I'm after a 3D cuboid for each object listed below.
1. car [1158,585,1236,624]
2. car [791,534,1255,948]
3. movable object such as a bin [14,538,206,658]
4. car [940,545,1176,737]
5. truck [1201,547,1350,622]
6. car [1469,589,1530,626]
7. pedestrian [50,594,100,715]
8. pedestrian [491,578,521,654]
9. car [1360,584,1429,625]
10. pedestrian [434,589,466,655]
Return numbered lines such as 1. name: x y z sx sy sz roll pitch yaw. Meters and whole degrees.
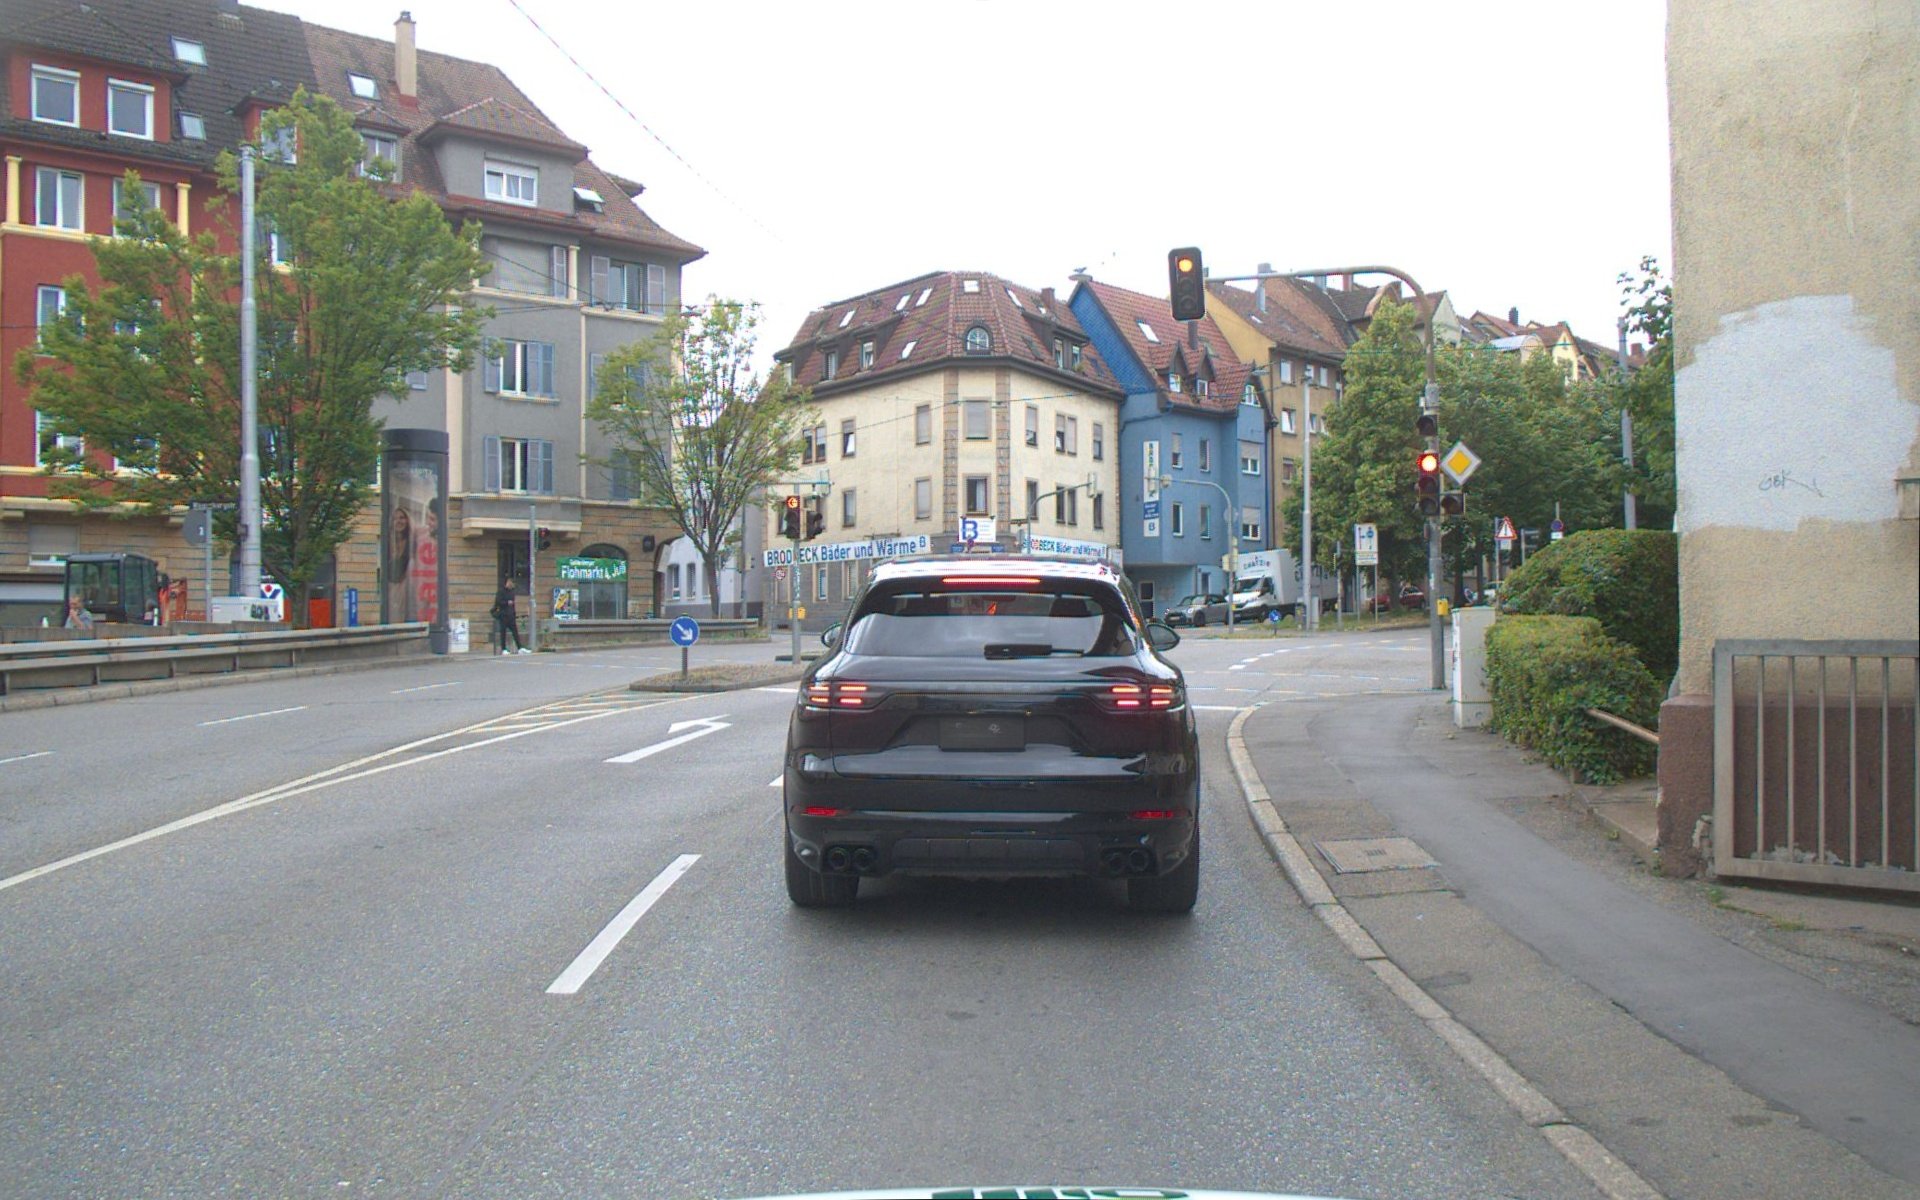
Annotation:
1. car: 10.574 0.198 73.735 1.958 1.713 3.988 0 0 33
2. car: 0.163 0.557 8.895 1.939 1.713 3.998 0 1 -3
3. movable object such as a bin: -14.080 -0.033 27.642 1.870 1.802 3.986 2 0 -13
4. car: 1.132 0.367 16.896 1.951 1.713 4.003 0 0 10
5. truck: 15.459 -0.693 80.458 2.833 3.398 8.734 2 0 43
6. car: 31.983 0.465 98.036 1.965 2.049 3.974 2 0 43
7. pedestrian: -13.126 0.800 24.517 0.537 1.760 0.586 2 -1 -35
8. pedestrian: -10.715 0.373 39.067 0.503 1.760 0.451 2 0 2
9. car: 23.465 0.240 89.211 1.965 2.049 3.974 2 0 43
10. pedestrian: -12.442 0.537 40.365 0.577 1.594 0.486 2 0 -1
